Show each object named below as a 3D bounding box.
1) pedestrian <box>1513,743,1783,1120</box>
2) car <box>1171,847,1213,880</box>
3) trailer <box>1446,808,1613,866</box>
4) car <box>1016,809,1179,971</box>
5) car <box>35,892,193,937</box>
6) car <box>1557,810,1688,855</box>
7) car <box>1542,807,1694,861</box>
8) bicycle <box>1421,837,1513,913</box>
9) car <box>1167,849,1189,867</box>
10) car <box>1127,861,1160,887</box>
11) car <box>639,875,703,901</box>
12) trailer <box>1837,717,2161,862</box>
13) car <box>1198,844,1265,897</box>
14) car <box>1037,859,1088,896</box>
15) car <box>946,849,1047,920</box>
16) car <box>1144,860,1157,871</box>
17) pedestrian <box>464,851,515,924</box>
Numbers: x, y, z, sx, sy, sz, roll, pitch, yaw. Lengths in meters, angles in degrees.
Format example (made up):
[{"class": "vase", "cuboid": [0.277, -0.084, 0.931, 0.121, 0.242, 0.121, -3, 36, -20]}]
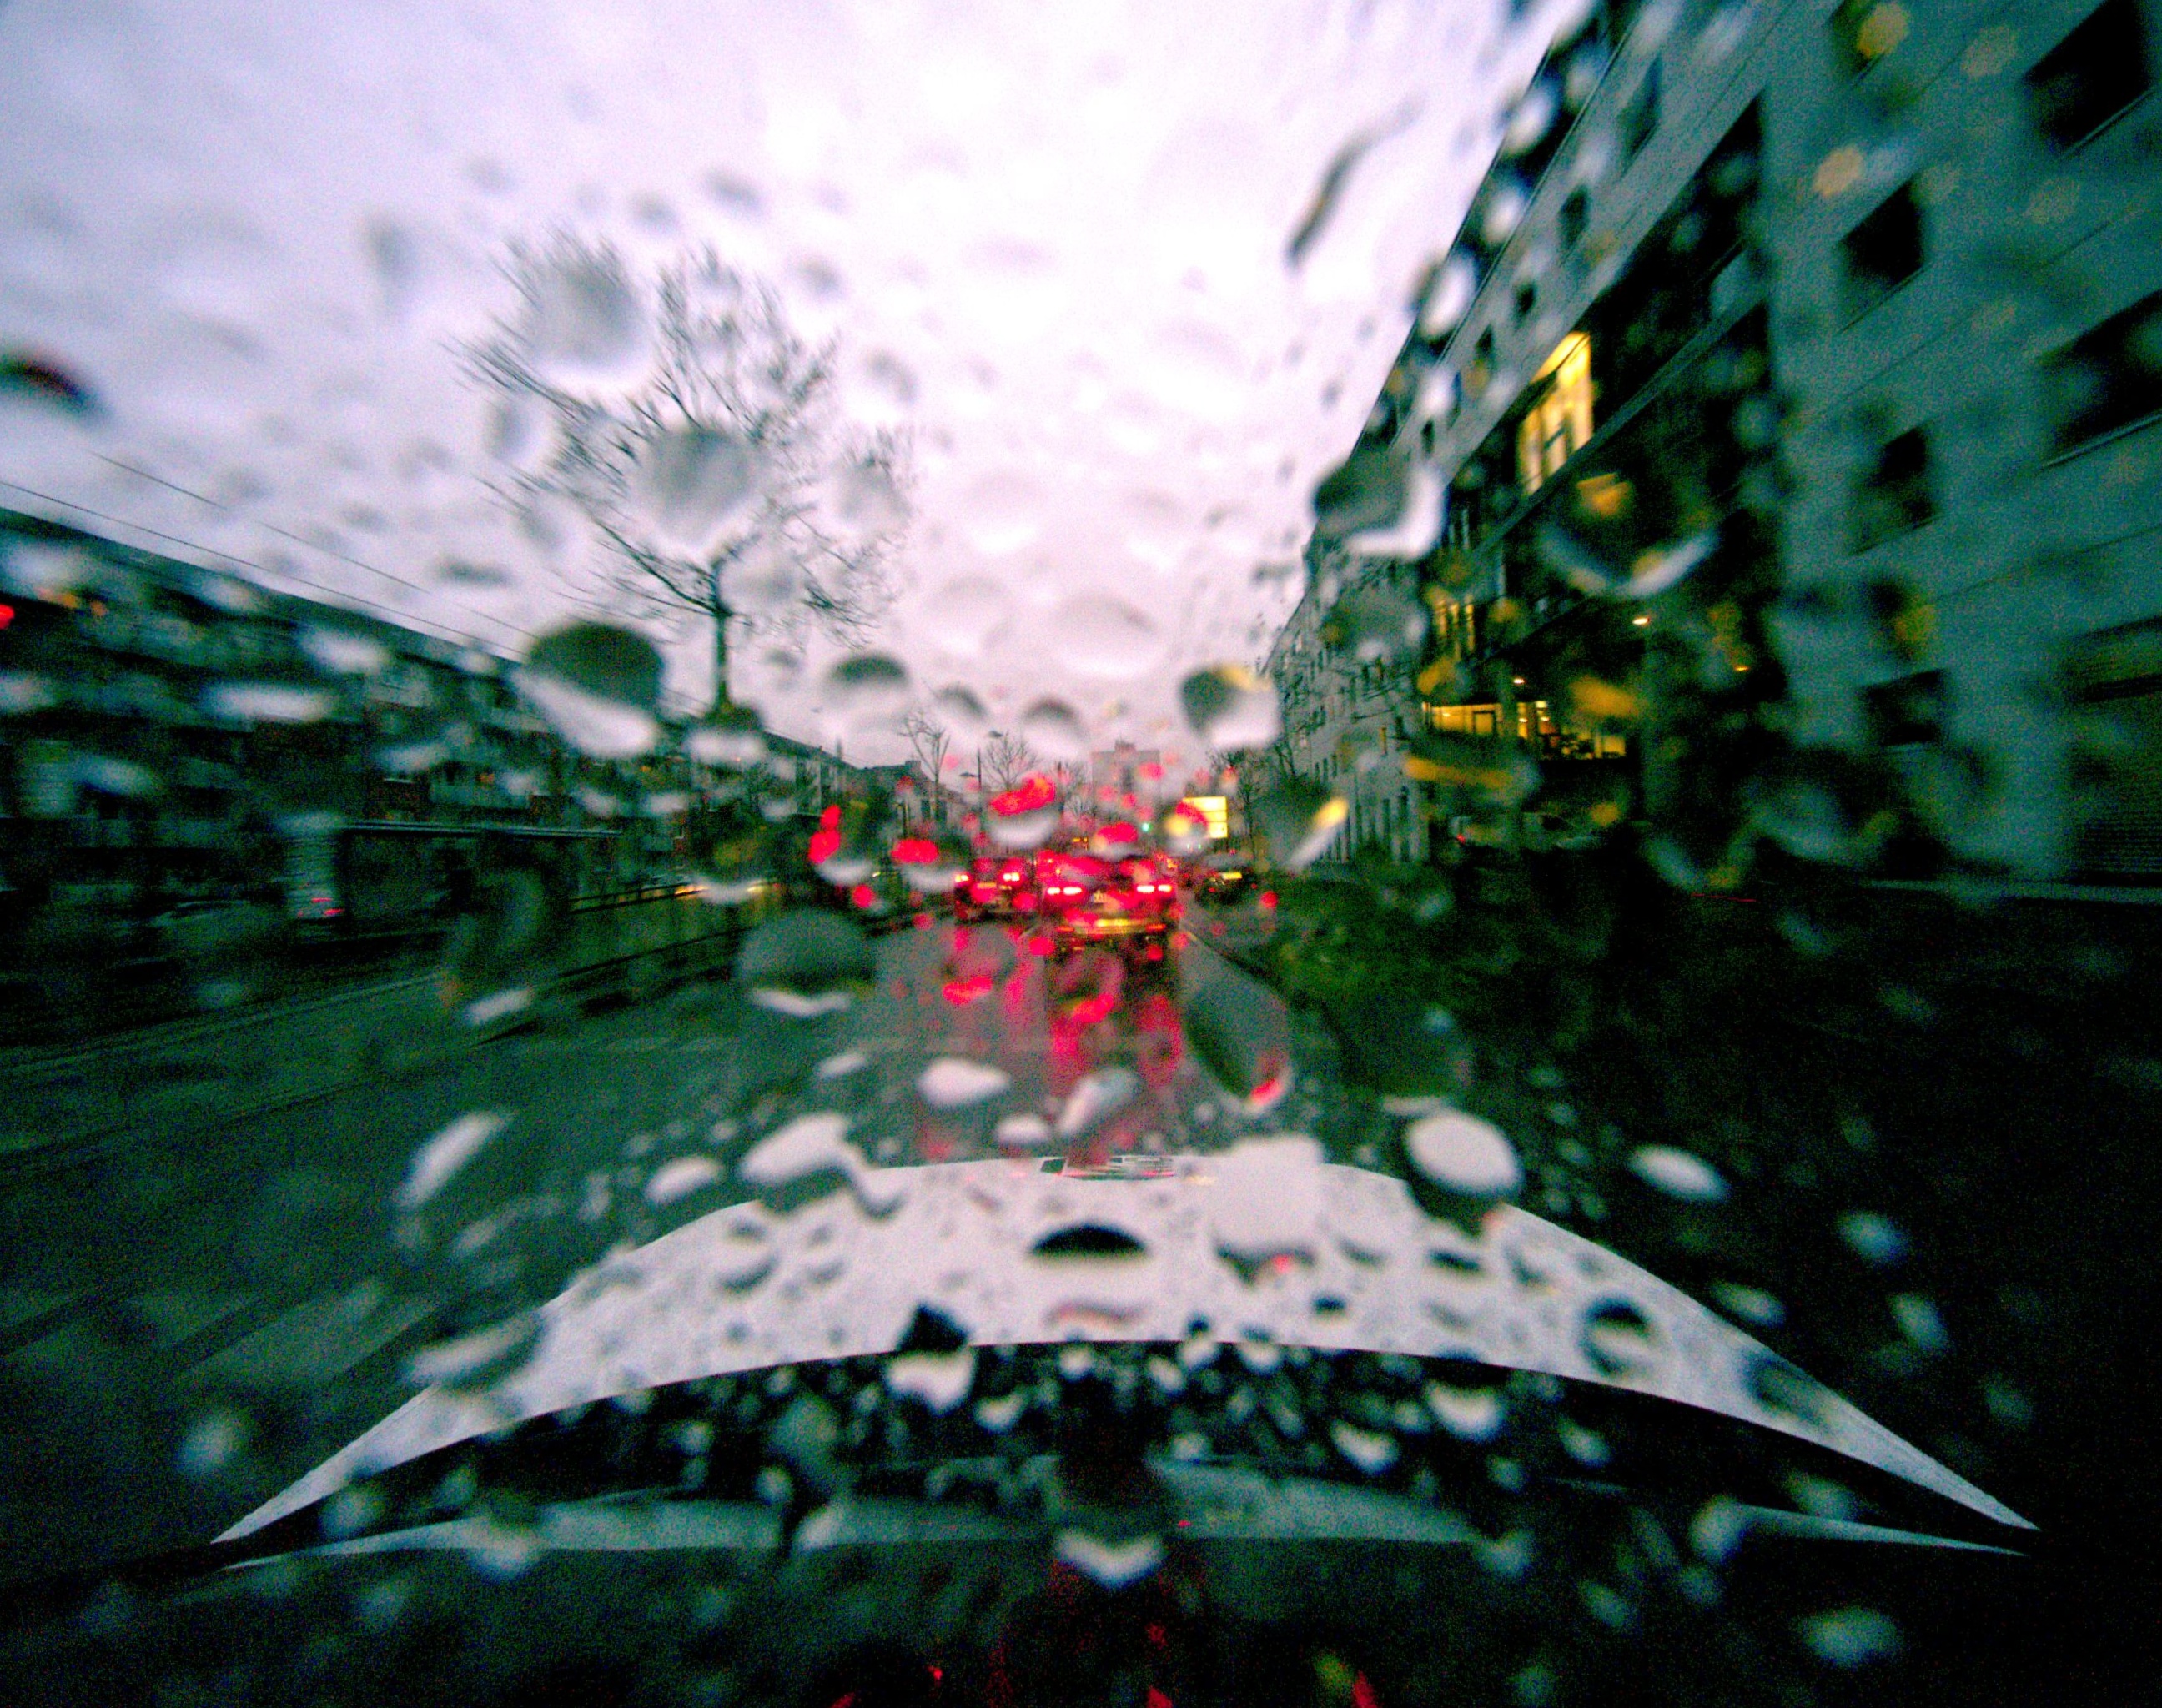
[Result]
[{"class": "pedestrian", "cuboid": [3.026, 0.392, 4.436, 0.768, 1.808, 0.699, -6, -2, 1]}, {"class": "car", "cuboid": [5.026, 0.384, 36.894, 1.744, 1.403, 4.259, -1, 0, 8]}, {"class": "trailer", "cuboid": [16.688, -0.641, 30.548, 5.036, 1.911, 2.136, -2, 1, 10]}, {"class": "car", "cuboid": [0.294, 0.485, 12.143, 1.986, 1.976, 4.070, -1, -1, 2]}, {"class": "car", "cuboid": [-37.024, 2.280, 31.321, 1.701, 1.496, 3.509, -1, -1, 7]}, {"class": "car", "cuboid": [21.362, -0.842, 32.277, 3.961, 1.518, 1.663, -3, 0, 11]}, {"class": "car", "cuboid": [15.617, -0.525, 24.015, 1.625, 1.371, 4.533, -1, -1, 3]}, {"class": "bicycle", "cuboid": [6.268, 0.337, 13.354, 0.548, 1.115, 2.169, -4, -1, 5]}, {"class": "car", "cuboid": [9.270, 0.377, 78.043, 1.983, 1.691, 3.534, -1, -1, 6]}, {"class": "car", "cuboid": [3.798, 1.176, 49.325, 1.878, 1.353, 4.107, -1, 0, 5]}, {"class": "car", "cuboid": [-26.171, 2.127, 52.155, 1.717, 1.544, 4.155, -1, -1, 4]}, {"class": "trailer", "cuboid": [19.812, -1.298, 16.826, 6.236, 2.581, 2.210, -3, 0, 0]}, {"class": "car", "cuboid": [4.496, 0.495, 24.859, 1.588, 1.440, 4.233, -1, -1, 5]}, {"class": "car", "cuboid": [-0.843, 1.115, 39.401, 1.984, 1.642, 4.027, -1, -1, 5]}, {"class": "car", "cuboid": [-2.178, 0.790, 22.234, 1.985, 1.712, 4.328, -1, -1, 4]}, {"class": "car", "cuboid": [9.846, 1.659, 115.204, 1.761, 1.502, 3.375, -1, -1, 8]}, {"class": "pedestrian", "cuboid": [-16.937, 0.938, 23.323, 1.146, 2.014, 0.951, 0, -2, -38]}]
